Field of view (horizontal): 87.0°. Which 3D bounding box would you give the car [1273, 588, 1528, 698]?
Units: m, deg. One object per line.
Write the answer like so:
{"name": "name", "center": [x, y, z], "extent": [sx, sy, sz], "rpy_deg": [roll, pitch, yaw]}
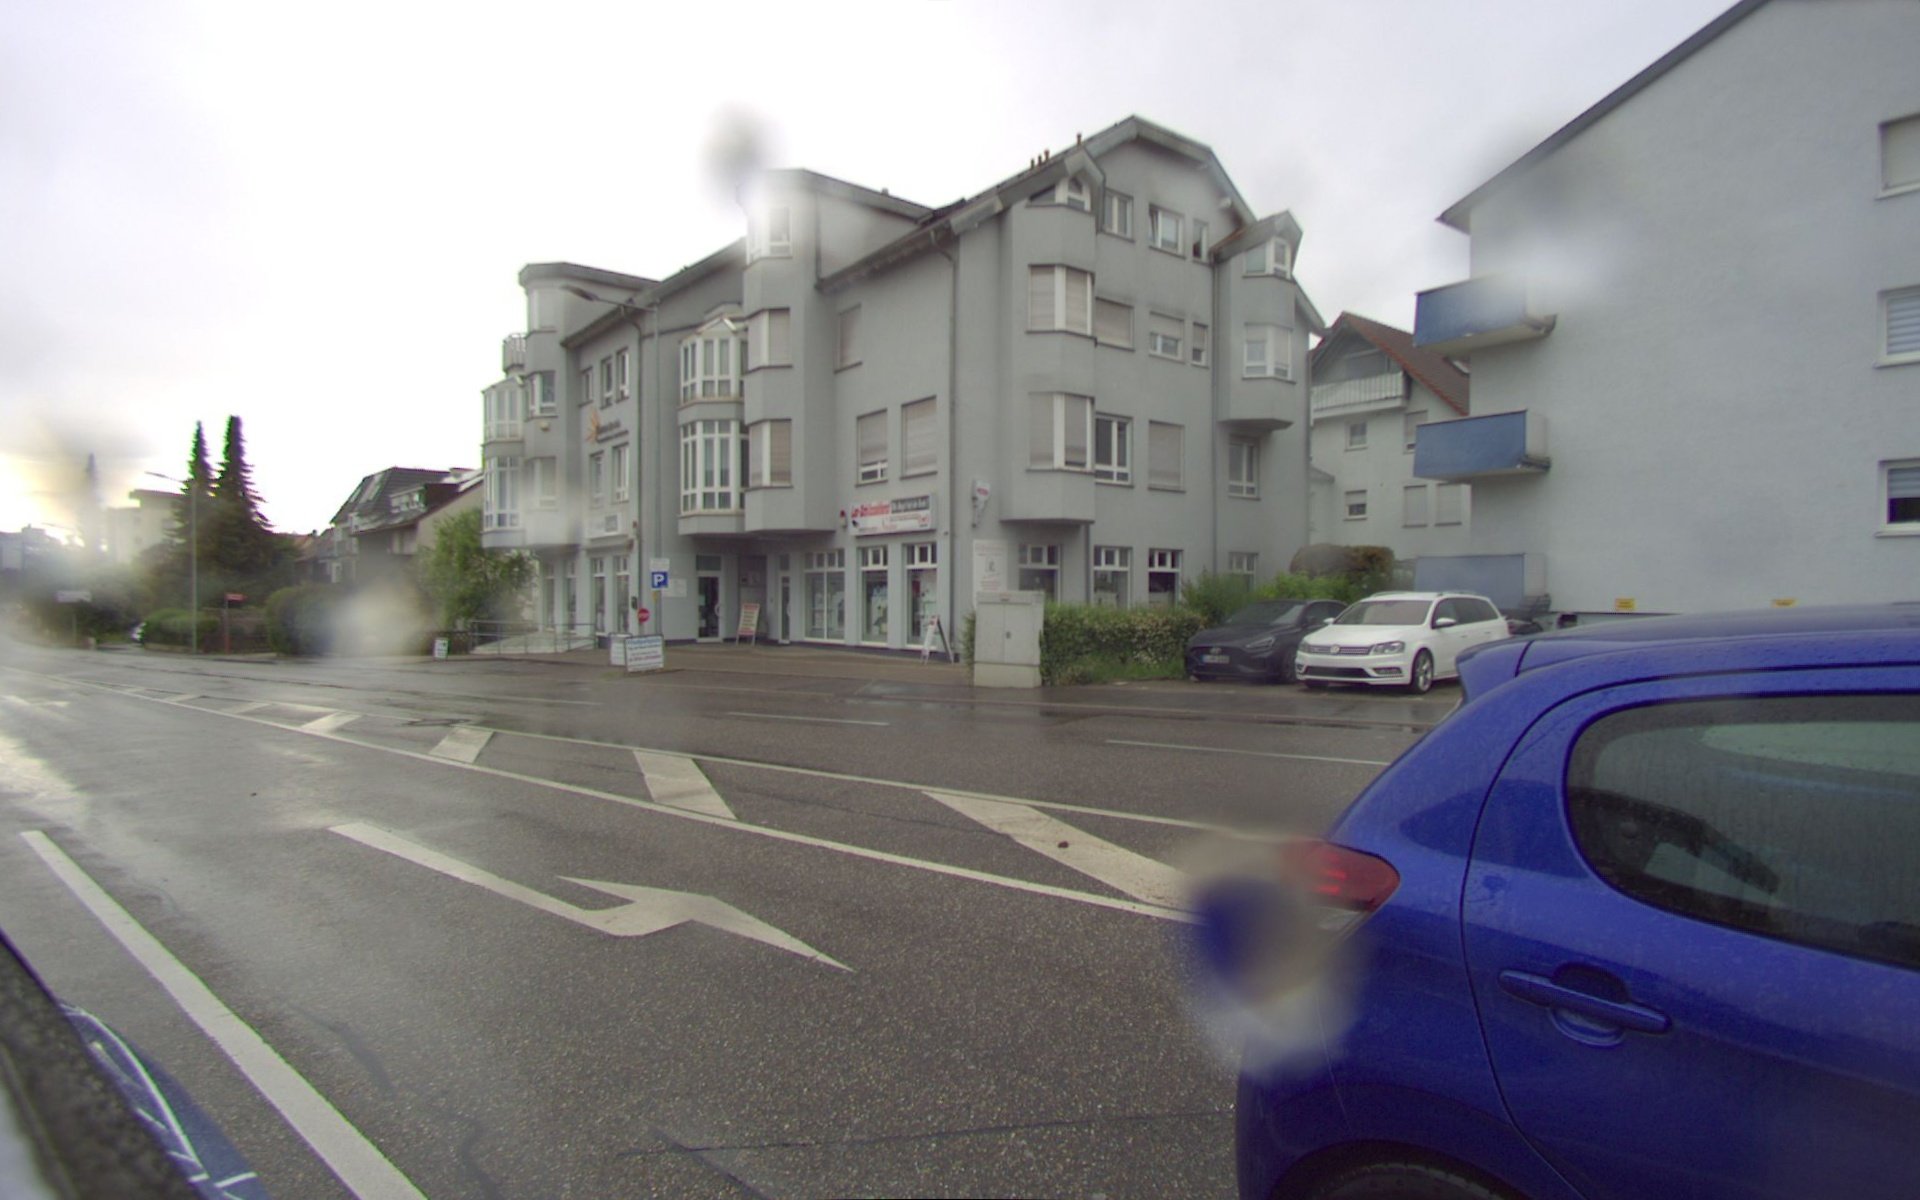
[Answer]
{"name": "car", "center": [6.990, 0.602, 15.813], "extent": [4.685, 1.471, 1.883], "rpy_deg": [0, -2, -42]}

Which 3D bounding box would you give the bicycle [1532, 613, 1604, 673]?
{"name": "bicycle", "center": [11.152, 0.789, 18.569], "extent": [1.065, 1.061, 0.343], "rpy_deg": [-2, -1, 41]}

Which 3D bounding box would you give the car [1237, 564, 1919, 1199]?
{"name": "car", "center": [2.243, 0.640, 1.205], "extent": [3.362, 1.423, 1.489], "rpy_deg": [-2, -1, 41]}

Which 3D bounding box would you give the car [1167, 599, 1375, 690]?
{"name": "car", "center": [5.502, 0.687, 17.658], "extent": [1.851, 1.366, 3.941], "rpy_deg": [-1, 0, 45]}
